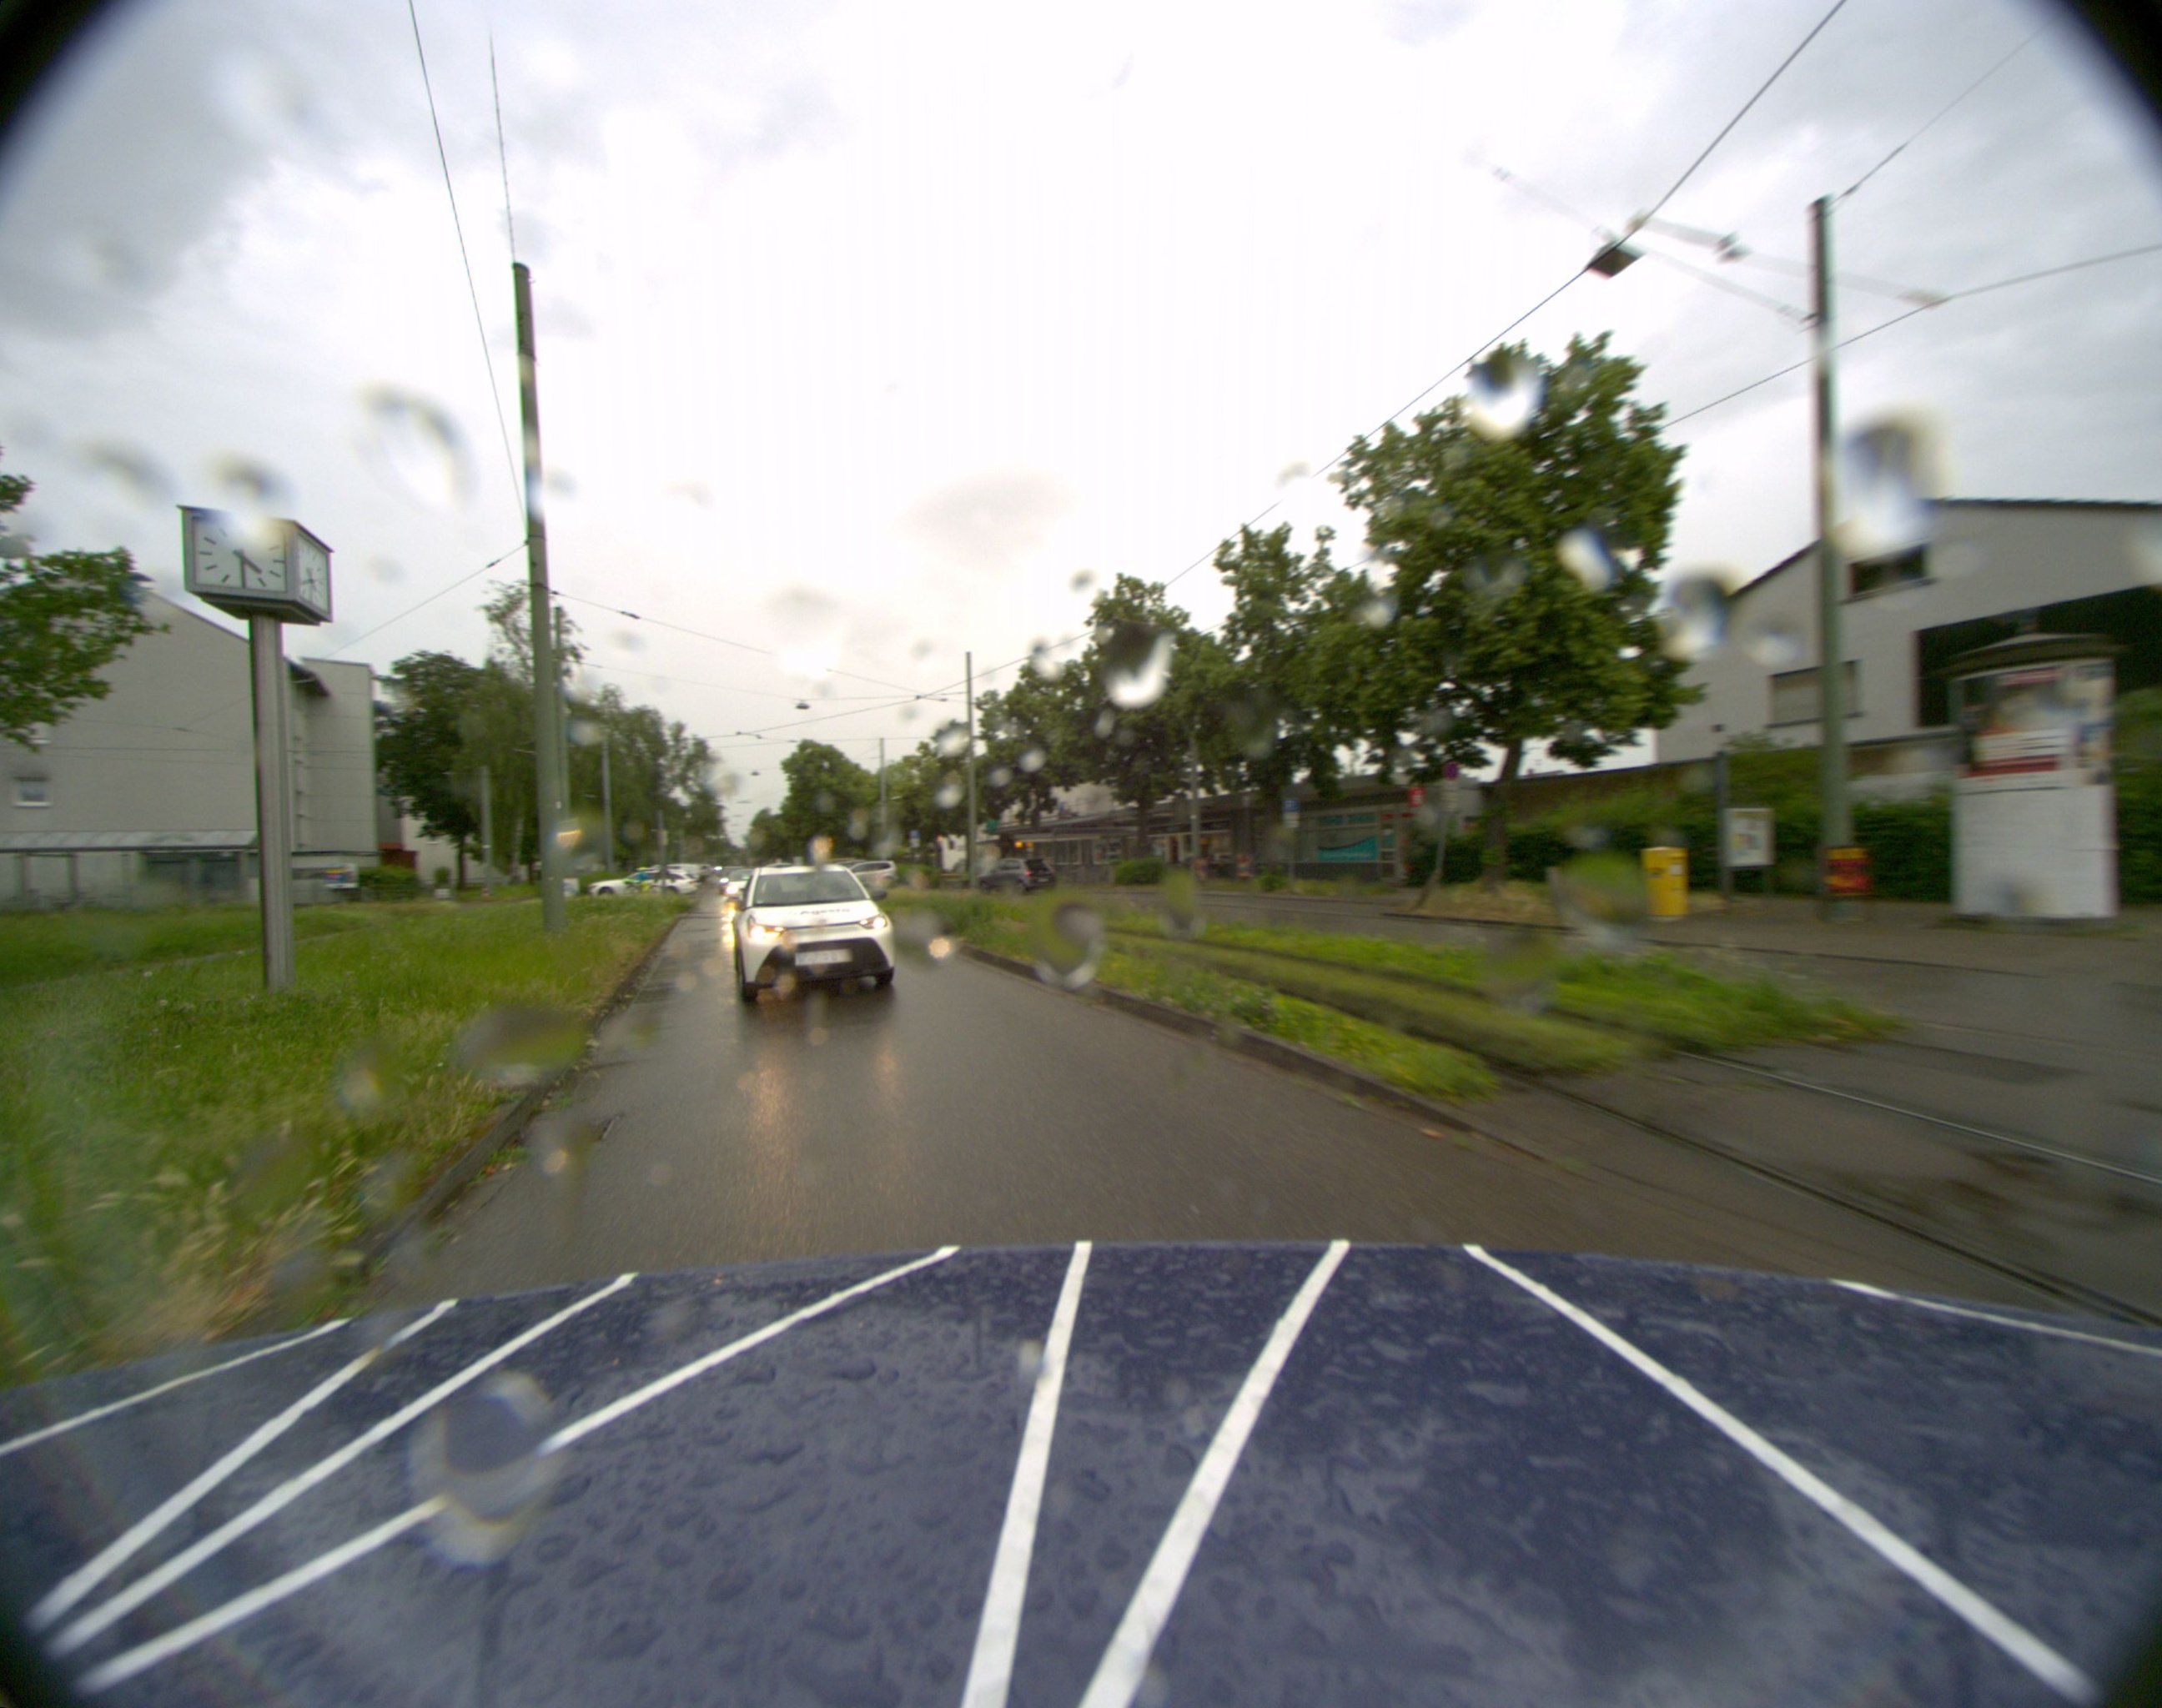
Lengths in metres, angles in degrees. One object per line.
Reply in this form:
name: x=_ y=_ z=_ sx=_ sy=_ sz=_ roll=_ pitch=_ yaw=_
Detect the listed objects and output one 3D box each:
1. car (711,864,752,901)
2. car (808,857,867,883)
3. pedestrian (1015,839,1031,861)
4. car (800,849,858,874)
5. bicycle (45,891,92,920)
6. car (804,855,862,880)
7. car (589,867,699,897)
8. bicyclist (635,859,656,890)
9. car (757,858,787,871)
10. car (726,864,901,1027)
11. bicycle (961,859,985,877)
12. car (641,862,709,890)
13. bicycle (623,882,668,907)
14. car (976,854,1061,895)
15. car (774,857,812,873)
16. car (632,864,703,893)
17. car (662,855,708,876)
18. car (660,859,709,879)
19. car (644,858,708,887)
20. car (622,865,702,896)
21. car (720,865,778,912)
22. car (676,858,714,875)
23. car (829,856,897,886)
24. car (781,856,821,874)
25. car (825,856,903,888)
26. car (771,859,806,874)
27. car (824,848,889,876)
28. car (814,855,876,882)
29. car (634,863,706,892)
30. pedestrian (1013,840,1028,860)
car: x=-21.146 y=1.672 z=45.899 sx=2.002 sy=2.002 sz=3.991 roll=-4 pitch=1 yaw=-26
car: x=-18.972 y=1.228 z=59.170 sx=4.096 sy=1.699 sz=1.895 roll=-3 pitch=1 yaw=-26
pedestrian: x=-4.710 y=-0.330 z=61.934 sx=1.081 sy=1.704 sz=0.946 roll=-2 pitch=1 yaw=-15
car: x=-21.412 y=0.623 z=64.580 sx=4.311 sy=1.799 sz=1.895 roll=-3 pitch=1 yaw=-26
bicycle: x=-36.469 y=1.848 z=27.388 sx=0.378 sy=0.951 sz=1.235 roll=-4 pitch=2 yaw=-22
car: x=-22.040 y=1.154 z=67.553 sx=4.554 sy=1.932 sz=1.895 roll=-3 pitch=1 yaw=-26
car: x=-22.842 y=1.429 z=39.960 sx=4.848 sy=1.449 sz=1.996 roll=0 pitch=-1 yaw=-24
bicyclist: x=-21.635 y=1.003 z=37.754 sx=0.700 sy=1.507 sz=0.723 roll=-3 pitch=0 yaw=-44
car: x=-52.704 y=1.760 z=129.681 sx=4.554 sy=1.932 sz=1.895 roll=-3 pitch=1 yaw=-26
car: x=-3.630 y=1.030 z=9.909 sx=1.722 sy=1.613 sz=3.708 roll=-3 pitch=-1 yaw=-25
bicycle: x=-6.930 y=0.899 z=48.556 sx=0.595 sy=1.066 sz=1.746 roll=-1 pitch=0 yaw=-43
car: x=-31.541 y=1.689 z=59.207 sx=4.450 sy=1.836 sz=1.719 roll=-4 pitch=2 yaw=-24
bicycle: x=-21.608 y=2.010 z=37.737 sx=1.757 sy=1.123 sz=0.726 roll=-3 pitch=0 yaw=-44
car: x=-2.652 y=0.850 z=31.597 sx=1.554 sy=1.495 sz=3.613 roll=-5 pitch=2 yaw=-43
car: x=-39.609 y=1.478 z=104.423 sx=4.554 sy=1.932 sz=1.895 roll=-3 pitch=1 yaw=-26
car: x=-30.873 y=1.817 z=56.898 sx=4.450 sy=1.836 sz=1.719 roll=-4 pitch=2 yaw=-24
car: x=-44.669 y=1.298 z=85.674 sx=4.451 sy=2.050 sz=1.719 roll=-4 pitch=2 yaw=-28
car: x=-42.764 y=1.579 z=82.008 sx=4.554 sy=1.932 sz=1.895 roll=-3 pitch=1 yaw=-26
car: x=-32.931 y=1.465 z=61.831 sx=4.451 sy=2.050 sz=1.719 roll=-4 pitch=2 yaw=-28
car: x=-25.137 y=1.557 z=45.740 sx=4.004 sy=1.477 sz=1.719 roll=-4 pitch=2 yaw=-24
car: x=-13.610 y=1.351 z=31.261 sx=1.965 sy=1.544 sz=3.991 roll=-3 pitch=3 yaw=-23
car: x=-53.317 y=1.686 z=105.114 sx=4.554 sy=2.013 sz=1.895 roll=-3 pitch=1 yaw=-26
car: x=-14.276 y=1.102 z=49.795 sx=3.952 sy=1.664 sz=1.790 roll=-3 pitch=1 yaw=-26
car: x=-35.360 y=1.383 z=96.009 sx=4.554 sy=1.932 sz=1.895 roll=-3 pitch=1 yaw=-26
car: x=-13.595 y=1.098 z=47.607 sx=4.343 sy=1.664 sz=1.996 roll=-3 pitch=1 yaw=-26
car: x=-43.066 y=1.852 z=111.703 sx=4.554 sy=1.932 sz=1.895 roll=-3 pitch=1 yaw=-26
car: x=-16.000 y=0.550 z=54.113 sx=4.096 sy=1.699 sz=1.895 roll=-3 pitch=1 yaw=-26
car: x=-17.523 y=1.044 z=56.420 sx=4.096 sy=1.699 sz=1.895 roll=-3 pitch=1 yaw=-26
car: x=-27.161 y=1.516 z=50.389 sx=4.004 sy=1.577 sz=1.719 roll=-4 pitch=2 yaw=-24
pedestrian: x=-5.001 y=-0.329 z=63.013 sx=1.081 sy=1.575 sz=0.946 roll=-2 pitch=1 yaw=-15
